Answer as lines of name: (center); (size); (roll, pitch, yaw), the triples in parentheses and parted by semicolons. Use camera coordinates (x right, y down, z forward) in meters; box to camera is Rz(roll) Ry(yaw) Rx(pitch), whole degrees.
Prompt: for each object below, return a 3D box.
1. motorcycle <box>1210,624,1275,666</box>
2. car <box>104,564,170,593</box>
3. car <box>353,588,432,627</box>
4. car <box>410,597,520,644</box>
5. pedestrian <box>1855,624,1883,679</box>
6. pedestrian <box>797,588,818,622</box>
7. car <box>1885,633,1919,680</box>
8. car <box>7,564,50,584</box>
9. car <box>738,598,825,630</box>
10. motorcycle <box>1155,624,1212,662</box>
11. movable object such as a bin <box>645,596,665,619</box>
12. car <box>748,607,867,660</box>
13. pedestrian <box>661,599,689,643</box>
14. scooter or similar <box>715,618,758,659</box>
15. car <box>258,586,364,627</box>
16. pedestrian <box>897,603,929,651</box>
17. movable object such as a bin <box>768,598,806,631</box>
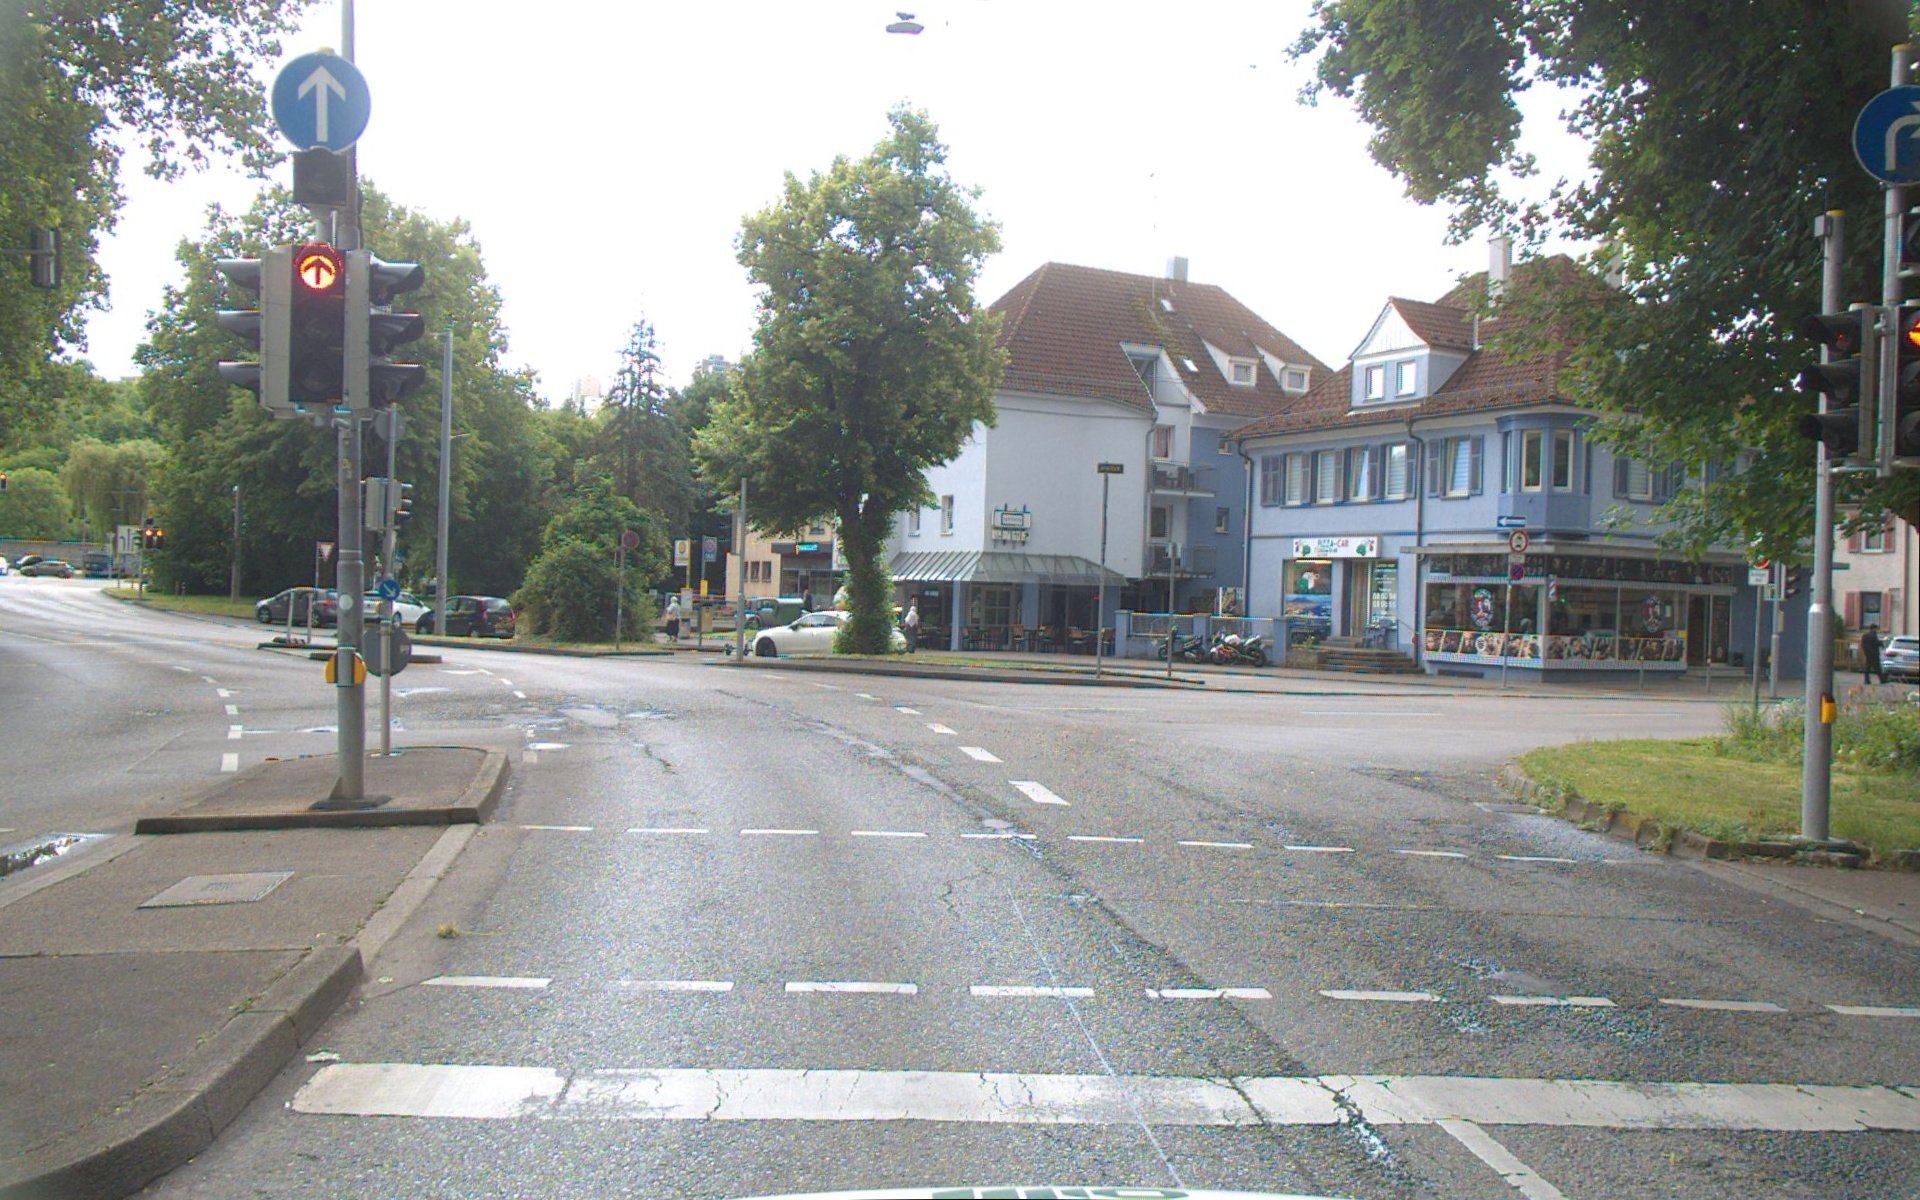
motorcycle: (8.271, 1.311, 48.483); (1.765, 1.141, 0.692); (1, 0, 38)
car: (-60.594, -1.578, 121.785); (3.912, 2.049, 1.861); (1, 0, -8)
car: (-22.670, 0.307, 66.187); (1.512, 1.490, 3.398); (1, 0, 10)
car: (-16.008, 0.659, 53.465); (3.519, 1.418, 1.468); (1, 0, 32)
pedestrian: (26.082, 1.468, 47.481); (0.455, 1.544, 0.579); (1, -1, -40)
pedestrian: (-7.205, 0.225, 78.167); (0.670, 1.572, 0.699); (2, 0, -35)
car: (29.851, 1.739, 51.416); (1.471, 1.393, 3.164); (1, 0, 38)
car: (-102.216, -2.830, 181.494); (3.948, 2.049, 1.978); (1, 0, -32)
car: (-8.159, 0.642, 75.735); (3.690, 1.368, 1.421); (1, 0, -27)
motorcycle: (6.791, 1.294, 50.239); (1.609, 1.082, 0.690); (1, 0, 44)
movable object such as a bin: (-15.854, 0.395, 85.917); (0.937, 1.135, 0.381); (1, 0, -22)
car: (-4.246, 0.918, 45.961); (3.110, 1.378, 1.435); (1, 0, 34)
pedestrian: (-10.162, 0.747, 59.001); (0.694, 1.572, 0.675); (1, 0, 39)
scooter or similar: (-5.732, 0.983, 42.544); (0.408, 1.029, 1.567); (1, 0, 20)
car: (-24.860, 0.245, 63.396); (3.469, 1.490, 1.586); (1, 0, 12)
pedestrian: (-1.565, 0.884, 55.090); (0.754, 1.572, 0.675); (1, -1, 38)
movable object such as a bin: (-7.719, 0.658, 73.844); (1.424, 1.433, 0.959); (1, 0, -27)
